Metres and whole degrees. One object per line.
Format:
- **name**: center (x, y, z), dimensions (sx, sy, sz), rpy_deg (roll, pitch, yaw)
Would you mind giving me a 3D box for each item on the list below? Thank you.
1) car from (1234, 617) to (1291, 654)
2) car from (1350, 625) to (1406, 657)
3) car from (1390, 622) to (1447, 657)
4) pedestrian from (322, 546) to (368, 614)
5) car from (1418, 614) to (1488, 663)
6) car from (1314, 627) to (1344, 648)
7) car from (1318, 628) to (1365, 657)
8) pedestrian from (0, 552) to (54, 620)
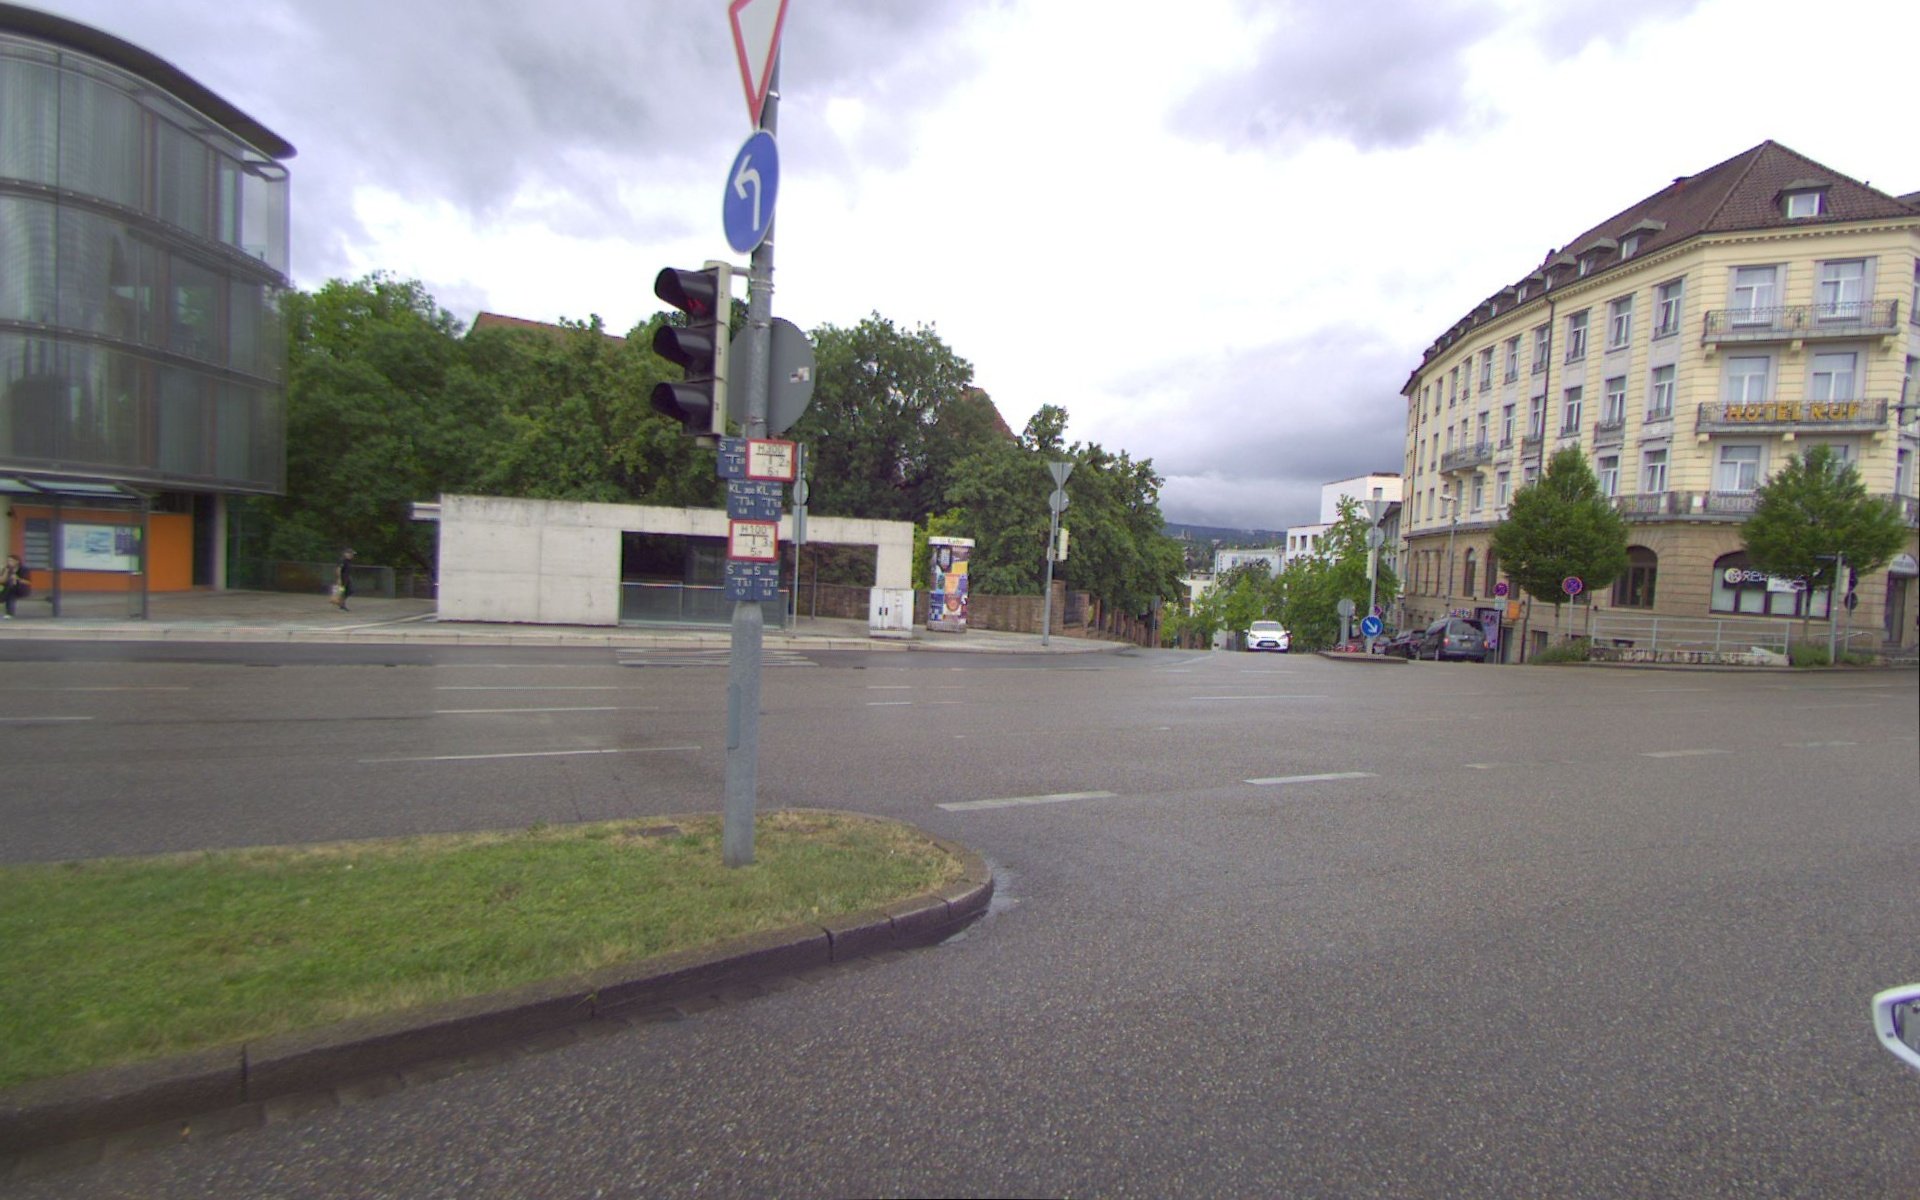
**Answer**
- **car**: center (12.999, 1.501, 43.378), dimensions (1.602, 1.416, 4.002), rpy_deg (2, 0, 6)
- **car**: center (21.817, 2.137, 52.619), dimensions (1.734, 1.498, 4.003), rpy_deg (2, 0, 8)
- **car**: center (21.511, 1.842, 47.252), dimensions (1.602, 1.417, 4.002), rpy_deg (2, 1, 13)
- **pedestrian**: center (-16.835, -0.546, 27.509), dimensions (0.810, 1.780, 0.785), rpy_deg (2, 6, -7)
- **car**: center (20.029, 1.499, 40.956), dimensions (1.602, 1.783, 4.002), rpy_deg (2, 1, 13)
- **car**: center (28.778, 2.929, 78.411), dimensions (1.734, 1.498, 4.002), rpy_deg (2, 0, 14)
- **car**: center (22.292, 2.449, 58.815), dimensions (1.734, 1.498, 4.013), rpy_deg (2, 0, 8)
- **pedestrian**: center (-18.664, -0.275, 20.001), dimensions (0.709, 1.316, 0.665), rpy_deg (2, 0, -22)
